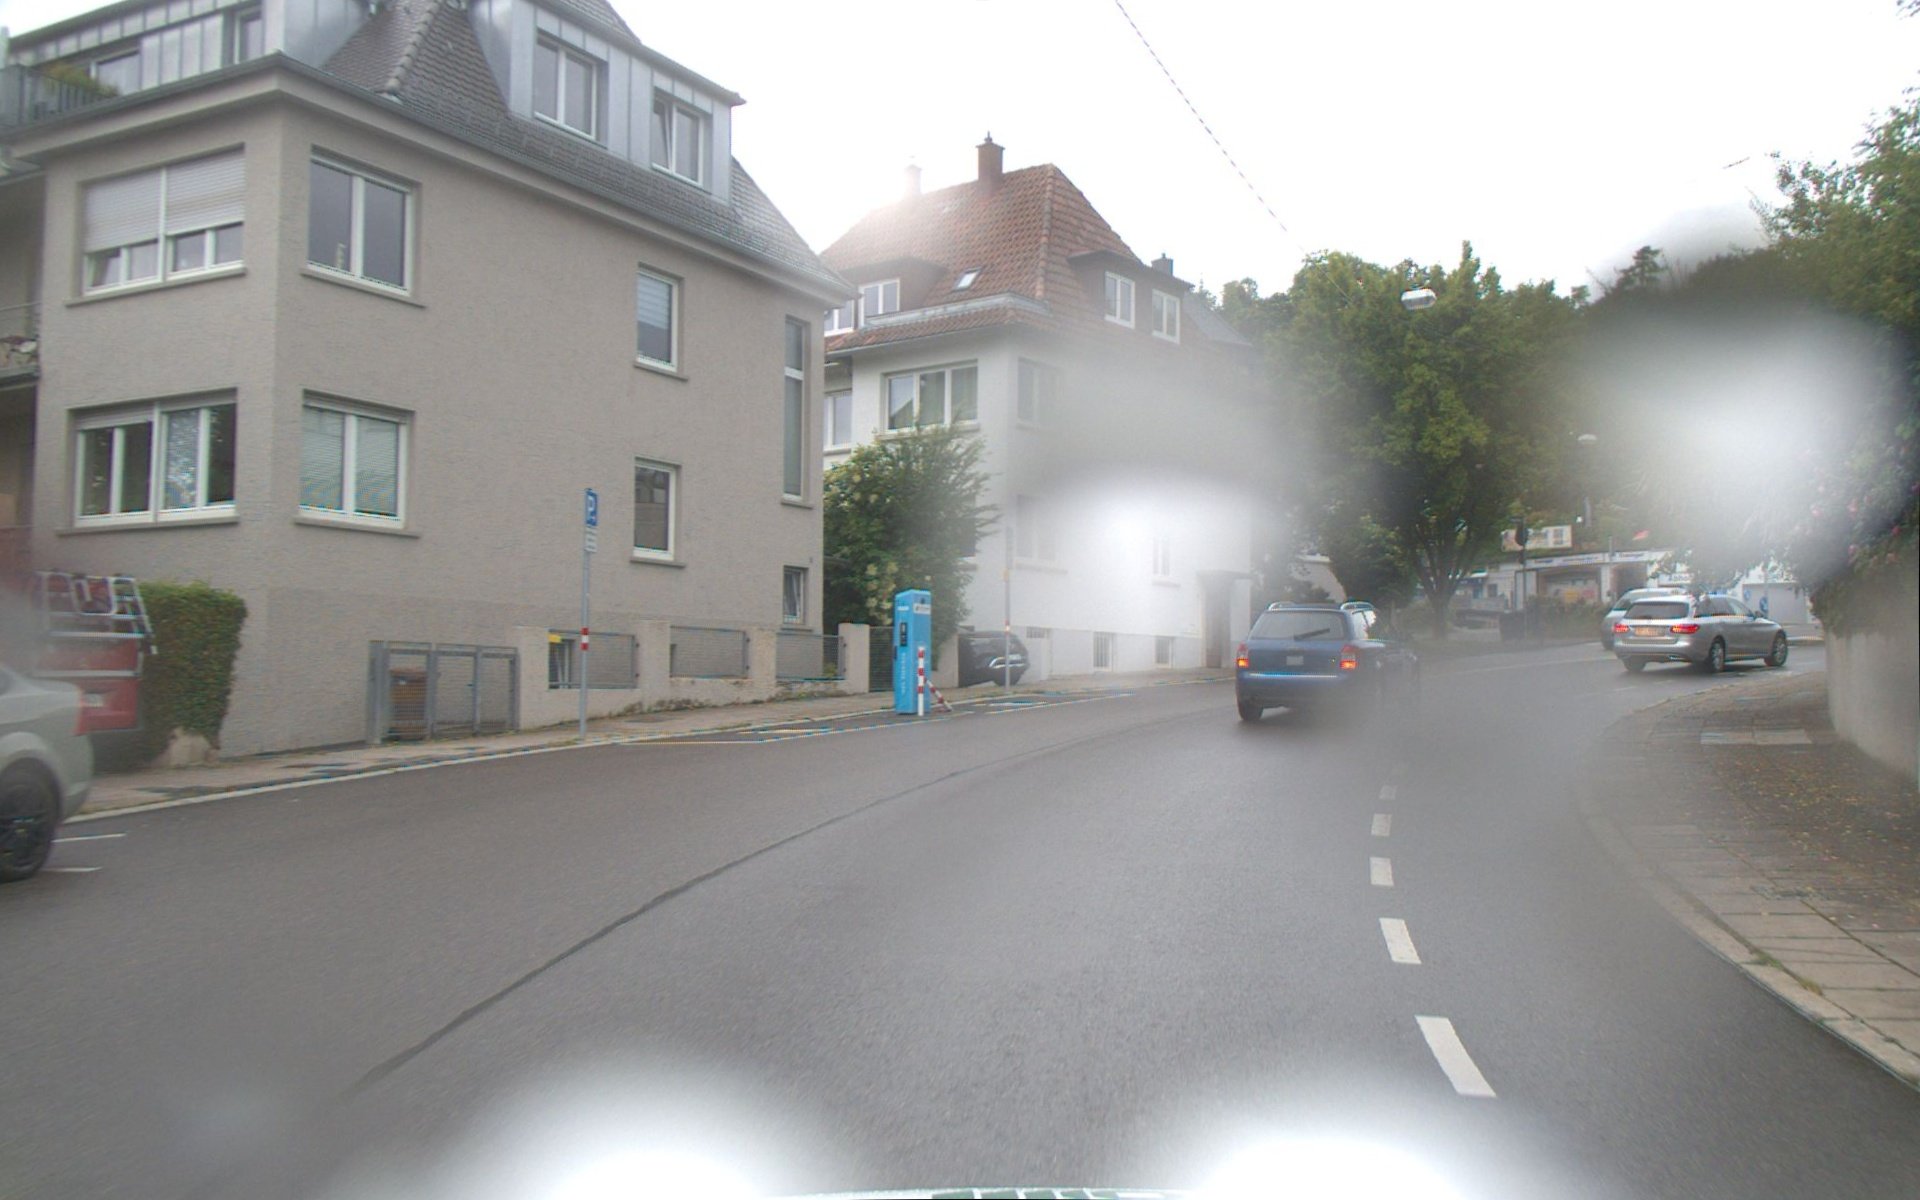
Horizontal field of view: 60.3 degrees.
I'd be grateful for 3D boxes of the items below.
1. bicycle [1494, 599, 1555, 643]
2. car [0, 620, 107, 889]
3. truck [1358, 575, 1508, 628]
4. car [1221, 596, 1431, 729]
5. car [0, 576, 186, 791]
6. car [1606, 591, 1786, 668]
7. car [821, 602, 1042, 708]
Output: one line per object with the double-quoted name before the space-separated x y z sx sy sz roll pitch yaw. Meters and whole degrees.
"bicycle" 16.007 0.591 46.877 1.935 1.104 0.418 -3 1 -29
"car" -6.244 0.858 7.901 1.797 1.450 4.232 -1 0 6
"truck" 21.318 0.062 74.870 2.285 2.309 6.733 0 0 -32
"car" 4.753 0.713 21.063 1.775 1.464 4.079 0 1 25
"car" -9.810 0.854 15.781 3.902 1.854 2.002 -4 -1 12
"car" 14.267 0.529 31.988 3.967 1.384 1.789 0 0 -43
"car" -0.627 1.150 34.152 4.174 1.651 1.990 -10 -6 39
